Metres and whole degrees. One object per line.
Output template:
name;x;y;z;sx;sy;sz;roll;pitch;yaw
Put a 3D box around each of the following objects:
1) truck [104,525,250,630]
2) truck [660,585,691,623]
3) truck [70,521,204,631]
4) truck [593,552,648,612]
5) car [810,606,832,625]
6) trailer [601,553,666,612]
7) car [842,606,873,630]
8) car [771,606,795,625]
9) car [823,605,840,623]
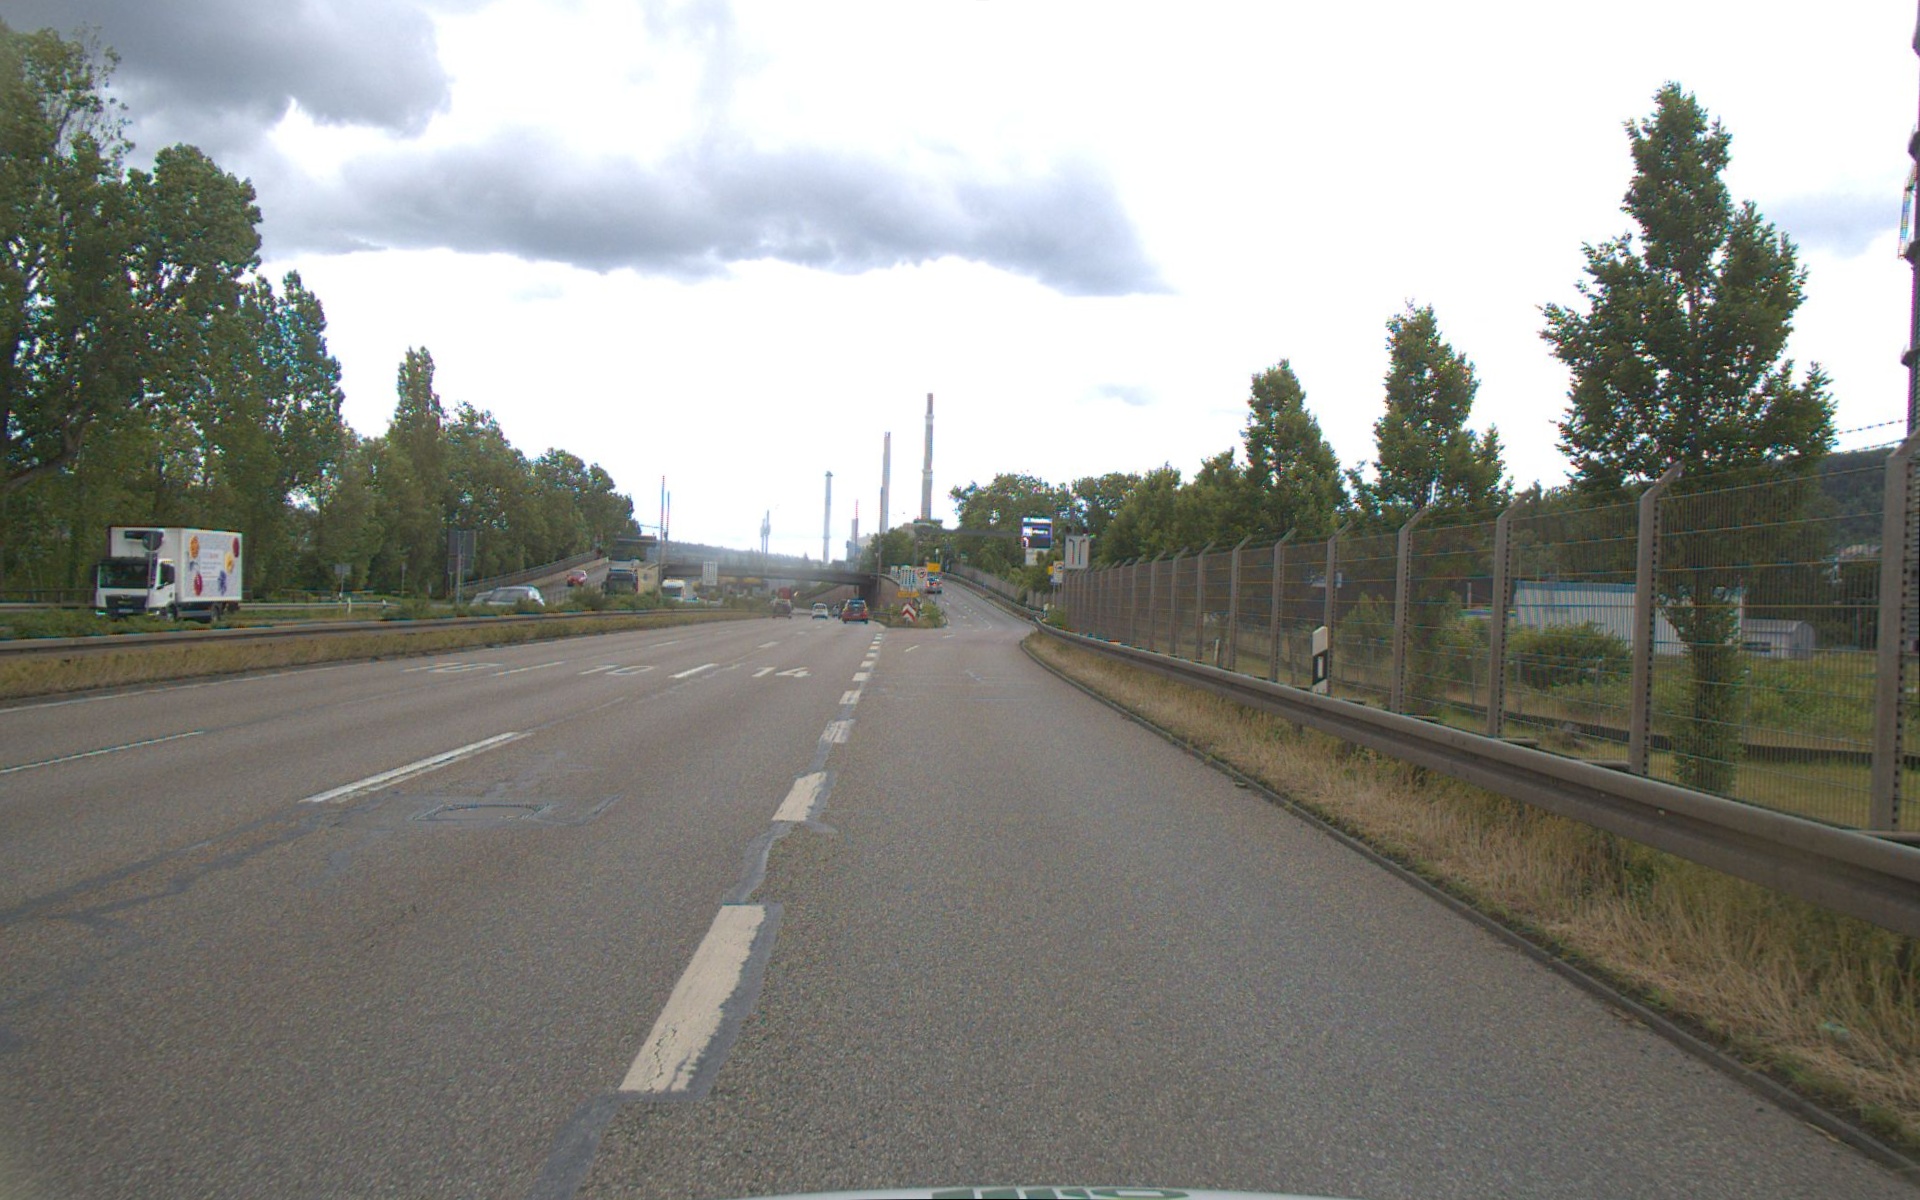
truck;-30.372;-0.822;64.478;2.925;3.707;6.330;3;0;-5
truck;-31.693;0.508;184.643;2.735;4.006;5.307;3;-1;-4
truck;-29.989;-0.830;60.438;2.927;3.706;3.995;3;0;-6
truck;-28.007;-1.436;136.837;3.395;4.755;6.207;2;-1;-3
car;-14.167;1.584;168.682;1.954;1.713;3.998;3;0;-2
trailer;-28.431;-1.378;144.856;3.394;4.755;14.772;2;-1;-3
car;-6.944;1.209;112.157;1.955;1.445;3.996;3;0;-5
car;-17.463;1.532;163.316;1.954;1.713;3.998;3;0;-2
car;-16.059;1.762;205.875;1.882;2.048;3.994;3;0;-7
